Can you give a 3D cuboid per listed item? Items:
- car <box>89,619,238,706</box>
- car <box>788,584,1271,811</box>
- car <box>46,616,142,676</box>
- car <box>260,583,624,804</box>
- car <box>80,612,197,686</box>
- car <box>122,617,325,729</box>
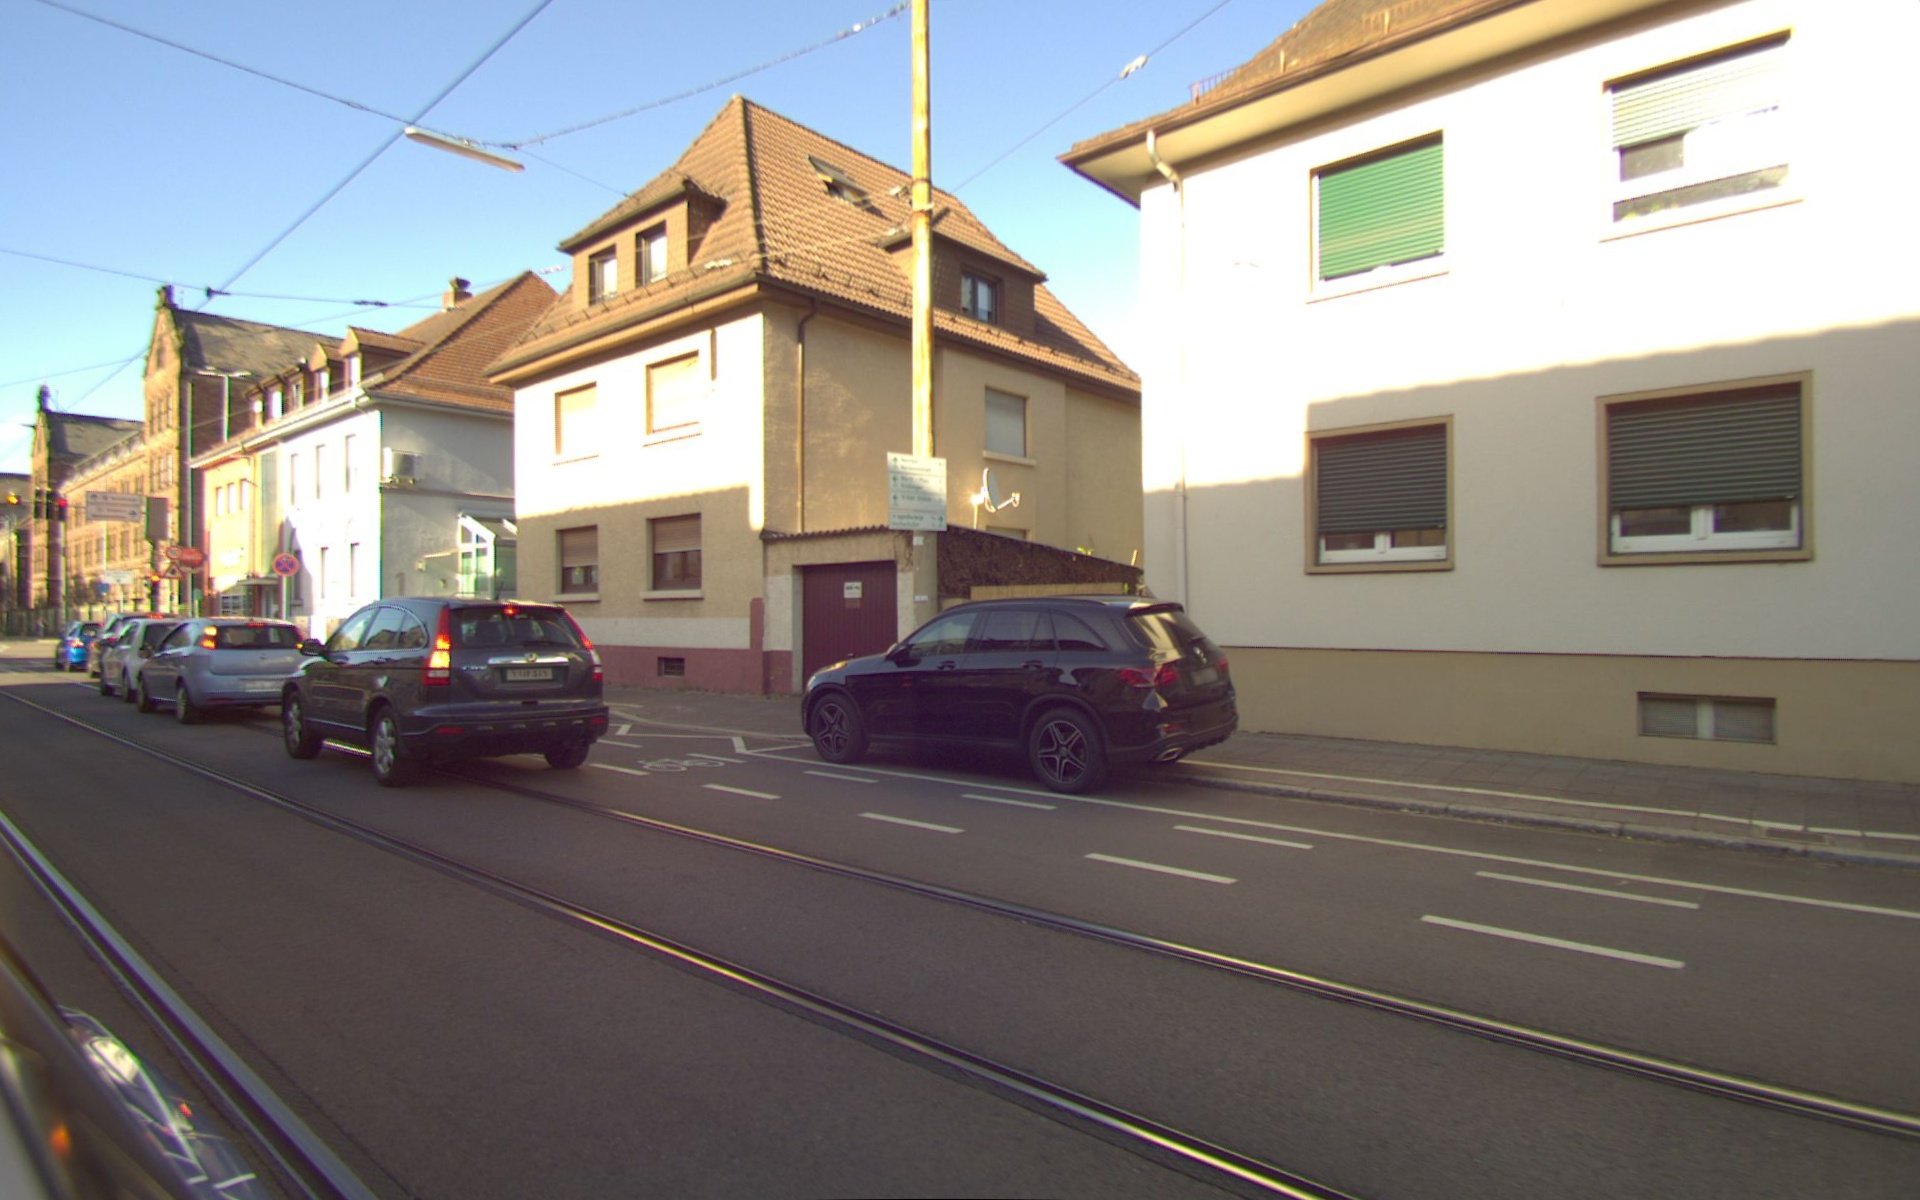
[{"bbox_3d":[-14.895,1.102,18.870,3.613,1.472,1.565,-1,-3,42],"label":"car"},{"bbox_3d":[0.488,0.797,9.834,4.552,1.718,1.744,-1,-3,40],"label":"car"},{"bbox_3d":[-24.720,1.303,28.853,3.930,1.579,1.665,-2,-4,44],"label":"car"},{"bbox_3d":[-5.250,0.785,9.976,4.362,1.718,1.686,-1,-3,41],"label":"car"},{"bbox_3d":[-19.966,1.139,24.520,1.718,1.623,4.717,3,-3,-45],"label":"car"},{"bbox_3d":[-11.188,1.008,15.279,4.073,1.472,1.600,-1,-3,41],"label":"car"}]
